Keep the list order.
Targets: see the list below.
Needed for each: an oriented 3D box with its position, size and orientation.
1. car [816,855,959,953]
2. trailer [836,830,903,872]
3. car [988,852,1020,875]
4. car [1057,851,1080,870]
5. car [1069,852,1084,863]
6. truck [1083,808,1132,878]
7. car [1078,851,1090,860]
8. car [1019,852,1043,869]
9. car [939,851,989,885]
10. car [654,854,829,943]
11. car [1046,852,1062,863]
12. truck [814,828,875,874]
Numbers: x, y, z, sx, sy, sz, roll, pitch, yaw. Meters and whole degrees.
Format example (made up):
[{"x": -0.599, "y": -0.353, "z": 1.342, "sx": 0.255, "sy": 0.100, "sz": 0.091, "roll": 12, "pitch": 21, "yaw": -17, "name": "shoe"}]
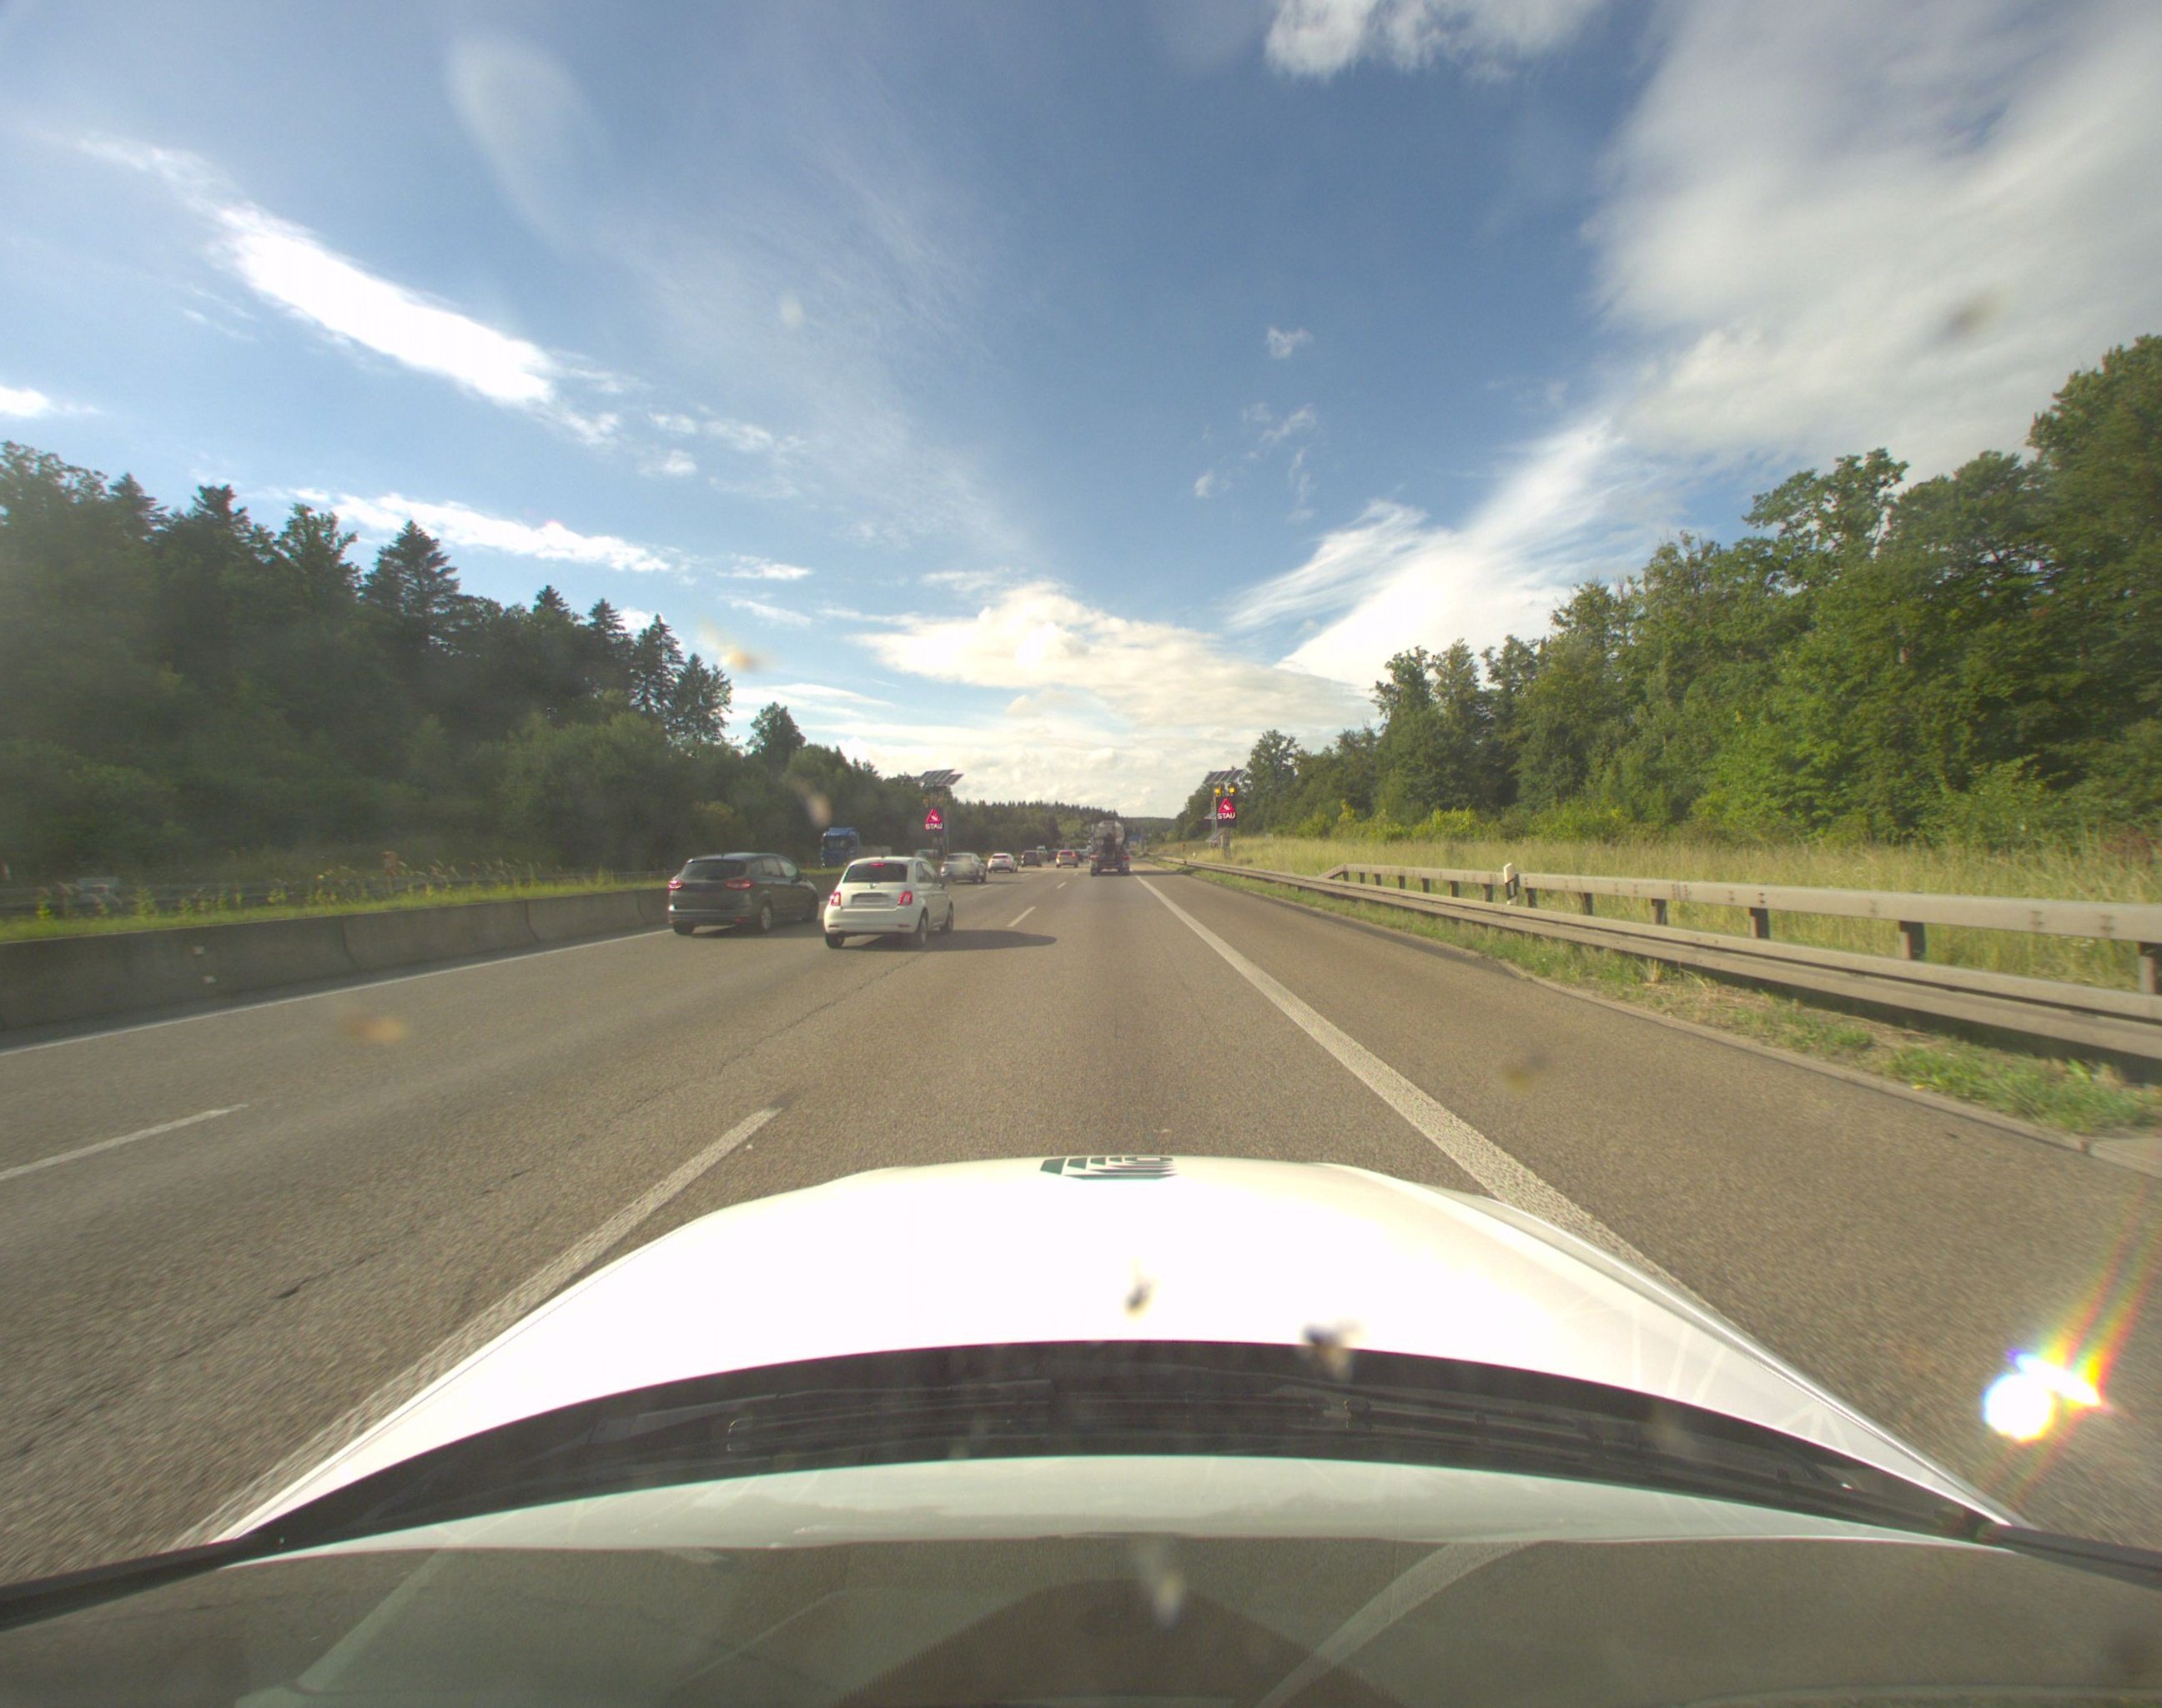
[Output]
[{"x": -3.333, "y": 0.792, "z": 14.653, "sx": 1.612, "sy": 1.544, "sz": 3.521, "roll": 0, "pitch": 0, "yaw": 2, "name": "car"}, {"x": -20.780, "y": -0.282, "z": 80.976, "sx": 3.112, "sy": 3.837, "sz": 12.214, "roll": -1, "pitch": 0, "yaw": 2, "name": "trailer"}, {"x": -5.706, "y": 0.689, "z": 60.711, "sx": 1.800, "sy": 1.585, "sz": 4.209, "roll": 0, "pitch": 1, "yaw": 2, "name": "car"}, {"x": -1.172, "y": 0.559, "z": 76.213, "sx": 1.935, "sy": 1.654, "sz": 4.209, "roll": 0, "pitch": 1, "yaw": 2, "name": "car"}, {"x": -0.610, "y": 0.471, "z": 110.453, "sx": 1.935, "sy": 1.456, "sz": 4.209, "roll": 0, "pitch": 1, "yaw": 2, "name": "car"}, {"x": 1.860, "y": -0.697, "z": 55.036, "sx": 2.901, "sy": 4.157, "sz": 11.277, "roll": -1, "pitch": 0, "yaw": 2, "name": "truck"}, {"x": 0.571, "y": 0.193, "z": 140.426, "sx": 1.935, "sy": 1.456, "sz": 4.209, "roll": 0, "pitch": 1, "yaw": 2, "name": "car"}, {"x": -4.900, "y": 0.593, "z": 80.107, "sx": 1.935, "sy": 1.585, "sz": 4.209, "roll": 0, "pitch": 1, "yaw": 2, "name": "car"}, {"x": -5.859, "y": 0.671, "z": 41.187, "sx": 1.800, "sy": 1.585, "sz": 4.209, "roll": 0, "pitch": 1, "yaw": 2, "name": "car"}, {"x": -6.939, "y": 0.823, "z": 17.193, "sx": 1.800, "sy": 1.585, "sz": 4.209, "roll": 0, "pitch": 1, "yaw": 2, "name": "car"}, {"x": -3.889, "y": 0.491, "z": 117.676, "sx": 1.935, "sy": 1.456, "sz": 4.209, "roll": 0, "pitch": 1, "yaw": 2, "name": "car"}, {"x": -21.030, "y": -0.274, "z": 72.855, "sx": 3.103, "sy": 3.837, "sz": 7.126, "roll": -1, "pitch": 0, "yaw": 2, "name": "truck"}]
